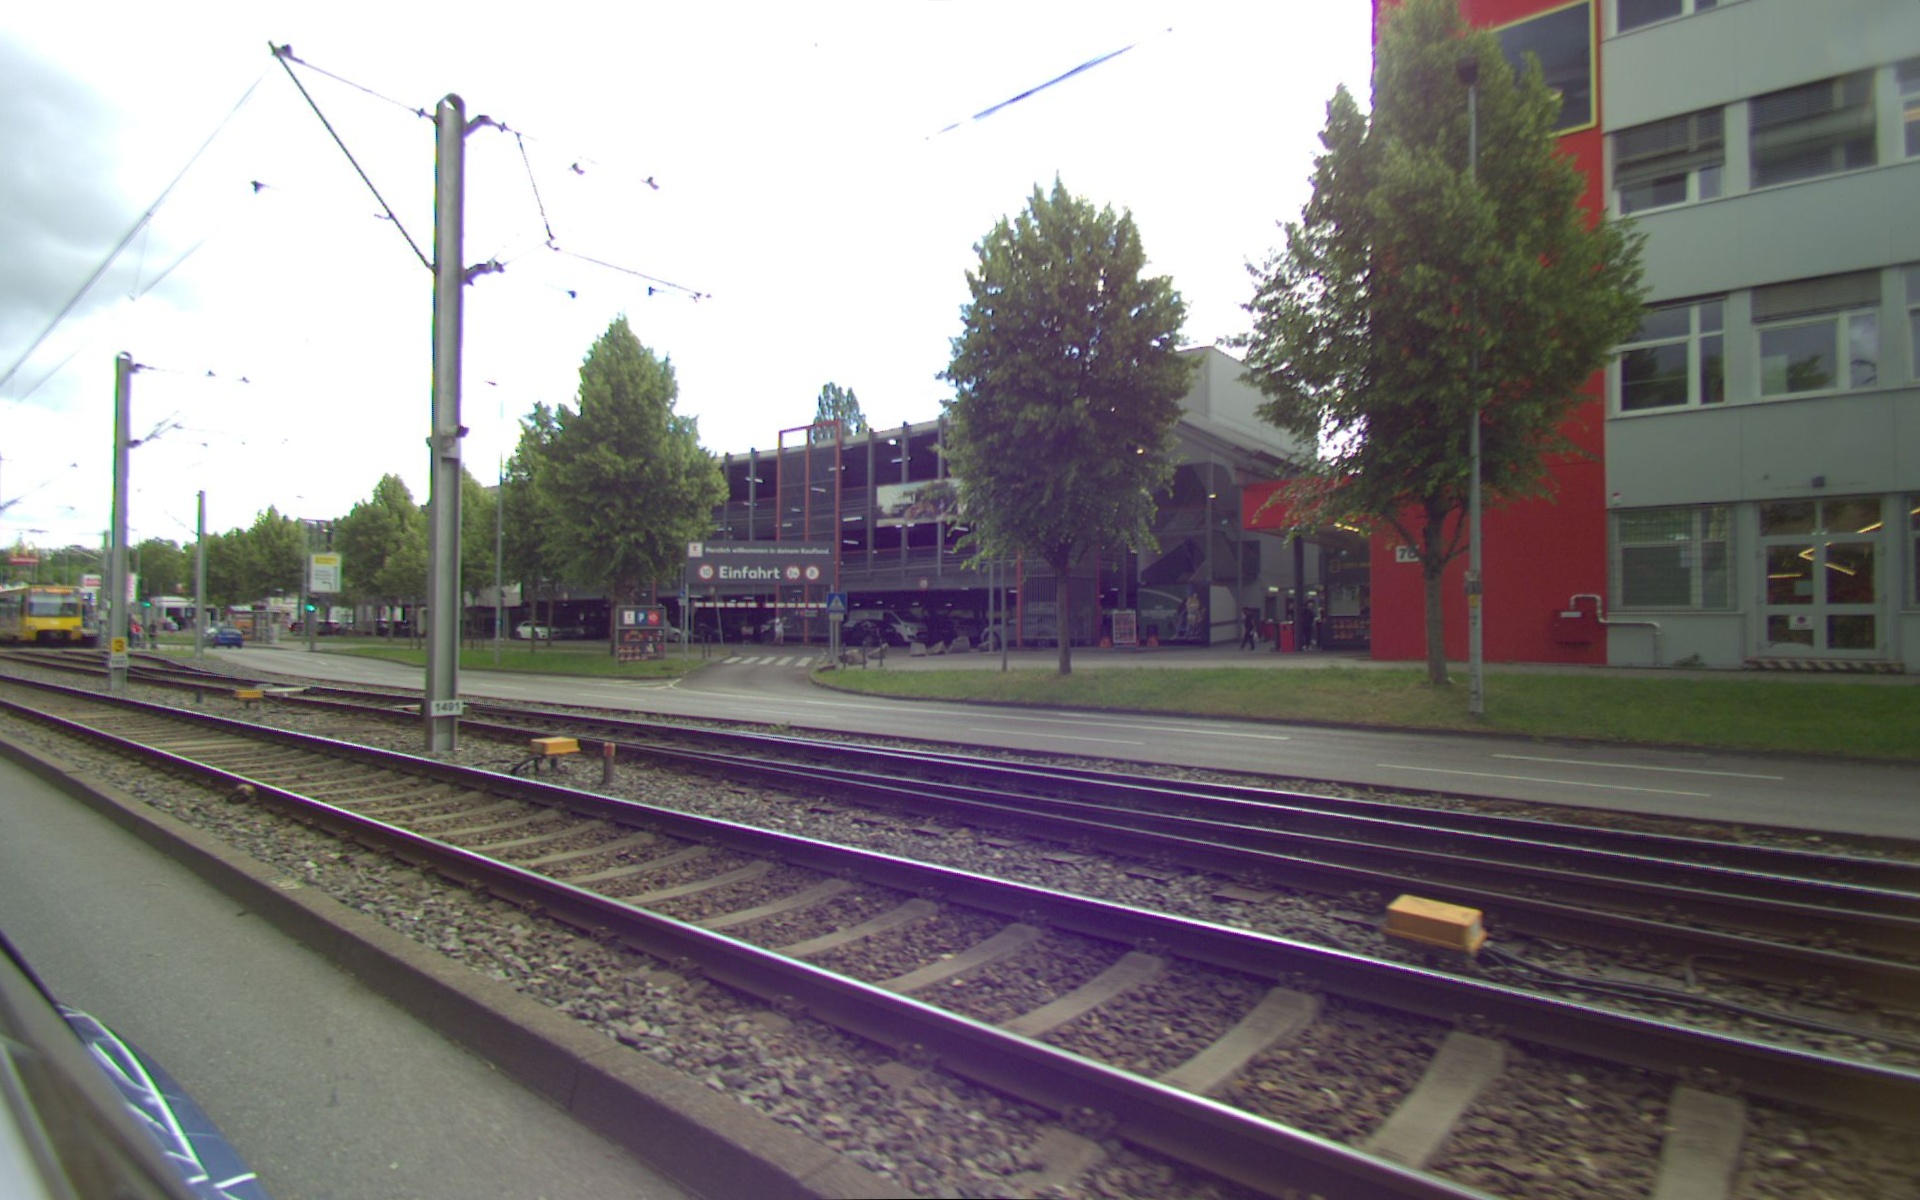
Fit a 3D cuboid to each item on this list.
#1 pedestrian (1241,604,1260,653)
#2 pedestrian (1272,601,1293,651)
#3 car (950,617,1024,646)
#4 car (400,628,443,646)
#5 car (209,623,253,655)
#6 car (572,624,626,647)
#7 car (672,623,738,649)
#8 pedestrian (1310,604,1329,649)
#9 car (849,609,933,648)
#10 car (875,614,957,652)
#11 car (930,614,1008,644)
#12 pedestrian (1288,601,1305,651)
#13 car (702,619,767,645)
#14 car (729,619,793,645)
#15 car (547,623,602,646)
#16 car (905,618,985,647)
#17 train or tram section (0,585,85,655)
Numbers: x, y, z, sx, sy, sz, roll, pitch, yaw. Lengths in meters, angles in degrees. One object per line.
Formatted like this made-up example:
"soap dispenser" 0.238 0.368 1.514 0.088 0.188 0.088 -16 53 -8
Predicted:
"pedestrian" 11.695 1.152 40.788 0.648 1.941 0.582 -1 -1 9
"pedestrian" 11.892 0.965 37.301 0.597 1.811 0.372 -2 -2 43
"car" 1.673 1.960 63.693 4.401 1.754 1.974 -2 -2 39
"car" -50.018 3.420 93.944 4.401 1.640 1.974 -2 -2 39
"car" -48.417 2.588 67.190 1.969 2.029 4.005 1 -2 -42
"car" -27.872 2.709 77.997 4.401 1.712 1.974 -2 -2 39
"car" -16.588 2.324 65.736 4.401 1.640 1.974 -2 -2 39
"pedestrian" 15.701 1.165 44.189 0.648 1.941 0.582 -1 -1 9
"car" -3.794 1.547 55.050 4.401 2.029 1.974 -2 -2 39
"car" -2.474 1.823 56.692 4.401 2.029 1.974 -2 -2 39
"car" 0.510 1.712 60.793 4.401 1.731 1.974 -2 -2 39
"pedestrian" 12.245 0.954 36.804 0.377 1.811 0.589 -2 -2 40
"car" -15.124 2.134 67.793 4.401 1.712 1.974 -2 -2 39
"car" -13.678 2.183 69.539 4.401 1.712 1.974 -2 -2 39
"car" -29.124 2.585 76.329 4.401 1.712 1.974 -2 -2 39
"car" -0.894 1.886 58.907 4.401 1.662 1.974 -2 -2 39
"train or tram section" -55.778 1.270 60.921 13.778 3.804 2.742 -2 -2 41
